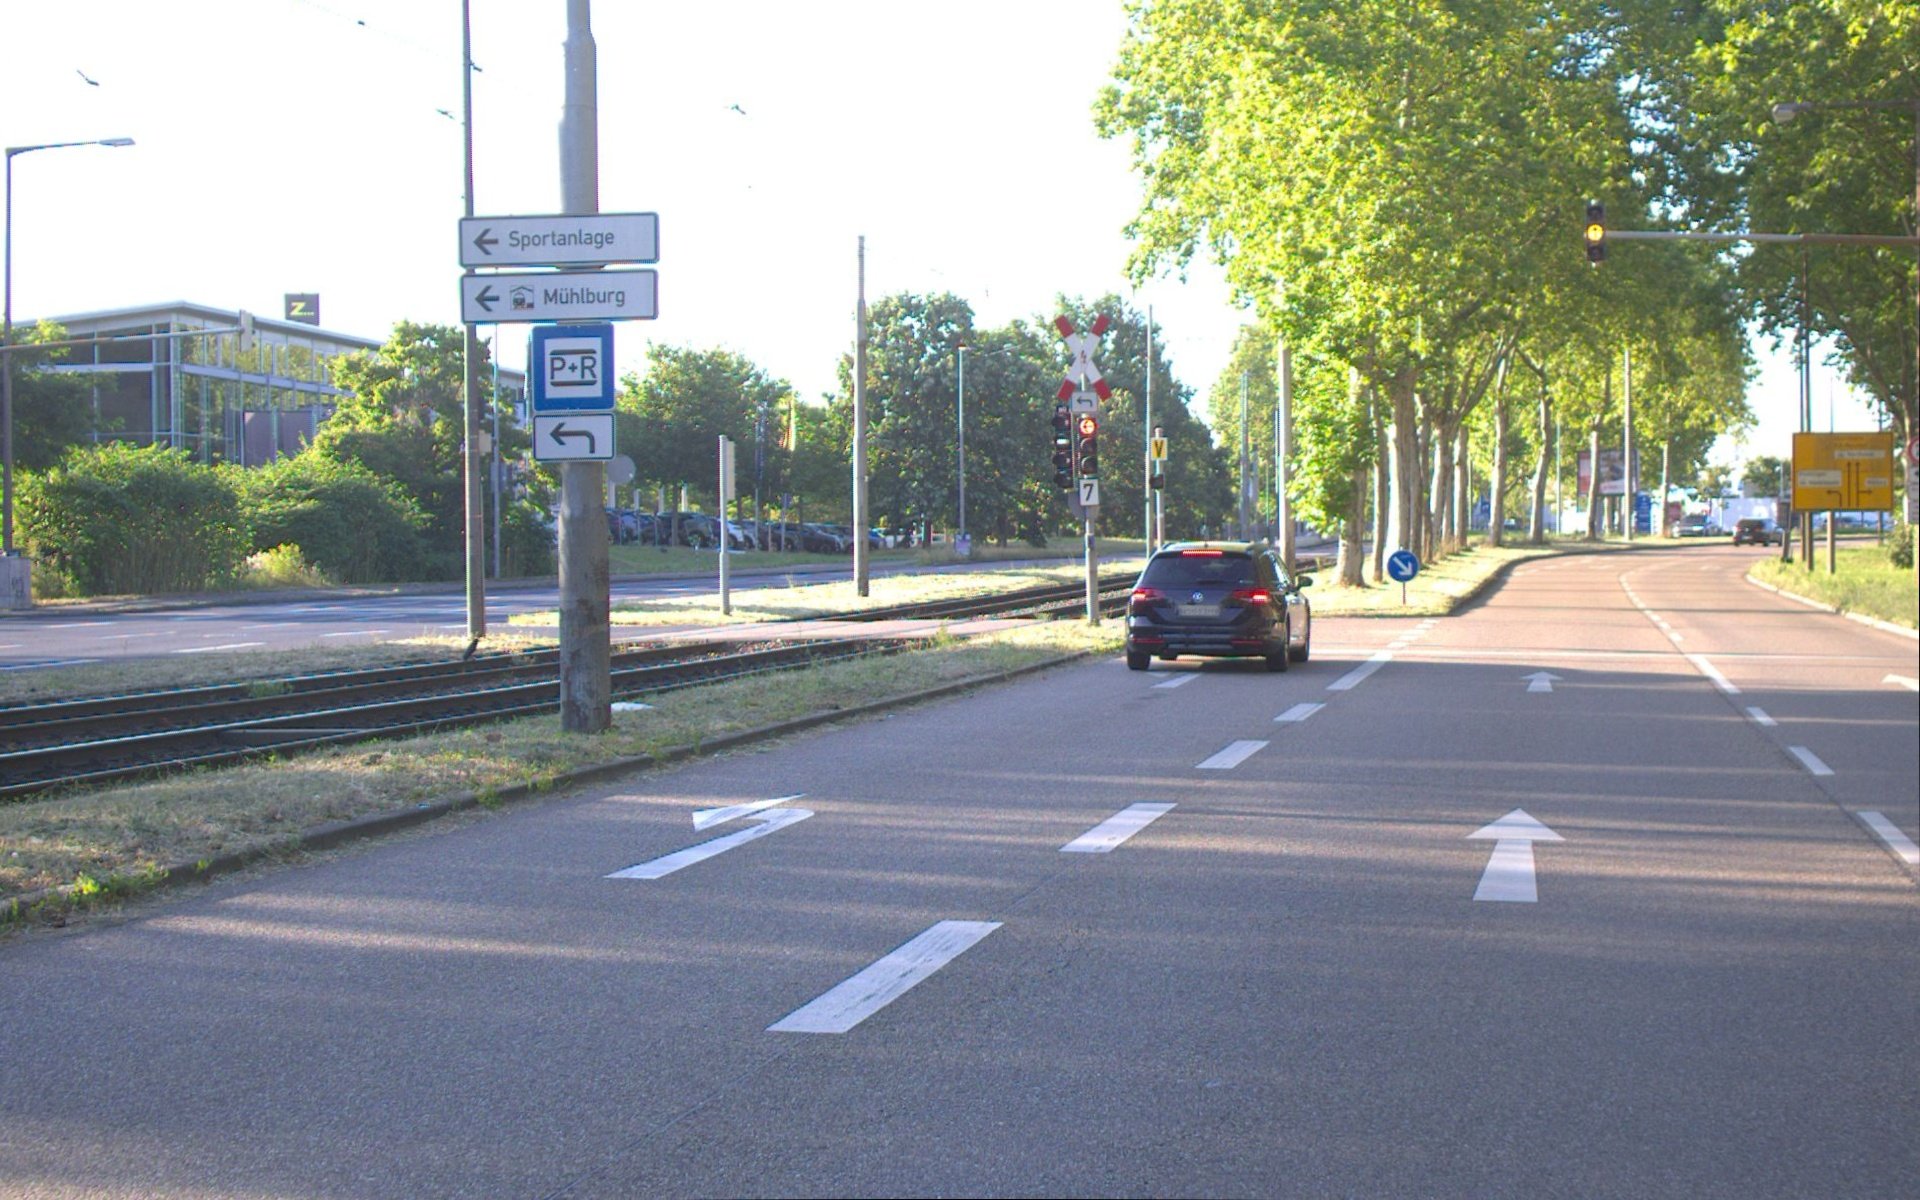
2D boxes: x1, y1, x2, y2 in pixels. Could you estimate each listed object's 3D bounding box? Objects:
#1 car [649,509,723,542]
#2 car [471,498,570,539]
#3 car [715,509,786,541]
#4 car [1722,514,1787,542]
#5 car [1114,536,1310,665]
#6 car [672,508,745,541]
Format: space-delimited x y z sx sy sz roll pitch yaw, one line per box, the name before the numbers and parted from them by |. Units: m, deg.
car | -12.441 -3.389 156.144 3.143 1.485 1.455 1 1 7
car | -15.307 -2.830 119.819 3.143 1.387 1.455 1 1 7
car | -9.900 -3.527 162.334 3.143 1.485 1.455 1 1 7
car | 40.324 -3.640 174.466 1.796 1.398 3.680 1 1 38
car | 2.928 -0.026 39.333 1.793 1.398 3.687 1 1 11
car | -11.614 -3.506 159.102 3.143 1.485 1.455 1 1 7
